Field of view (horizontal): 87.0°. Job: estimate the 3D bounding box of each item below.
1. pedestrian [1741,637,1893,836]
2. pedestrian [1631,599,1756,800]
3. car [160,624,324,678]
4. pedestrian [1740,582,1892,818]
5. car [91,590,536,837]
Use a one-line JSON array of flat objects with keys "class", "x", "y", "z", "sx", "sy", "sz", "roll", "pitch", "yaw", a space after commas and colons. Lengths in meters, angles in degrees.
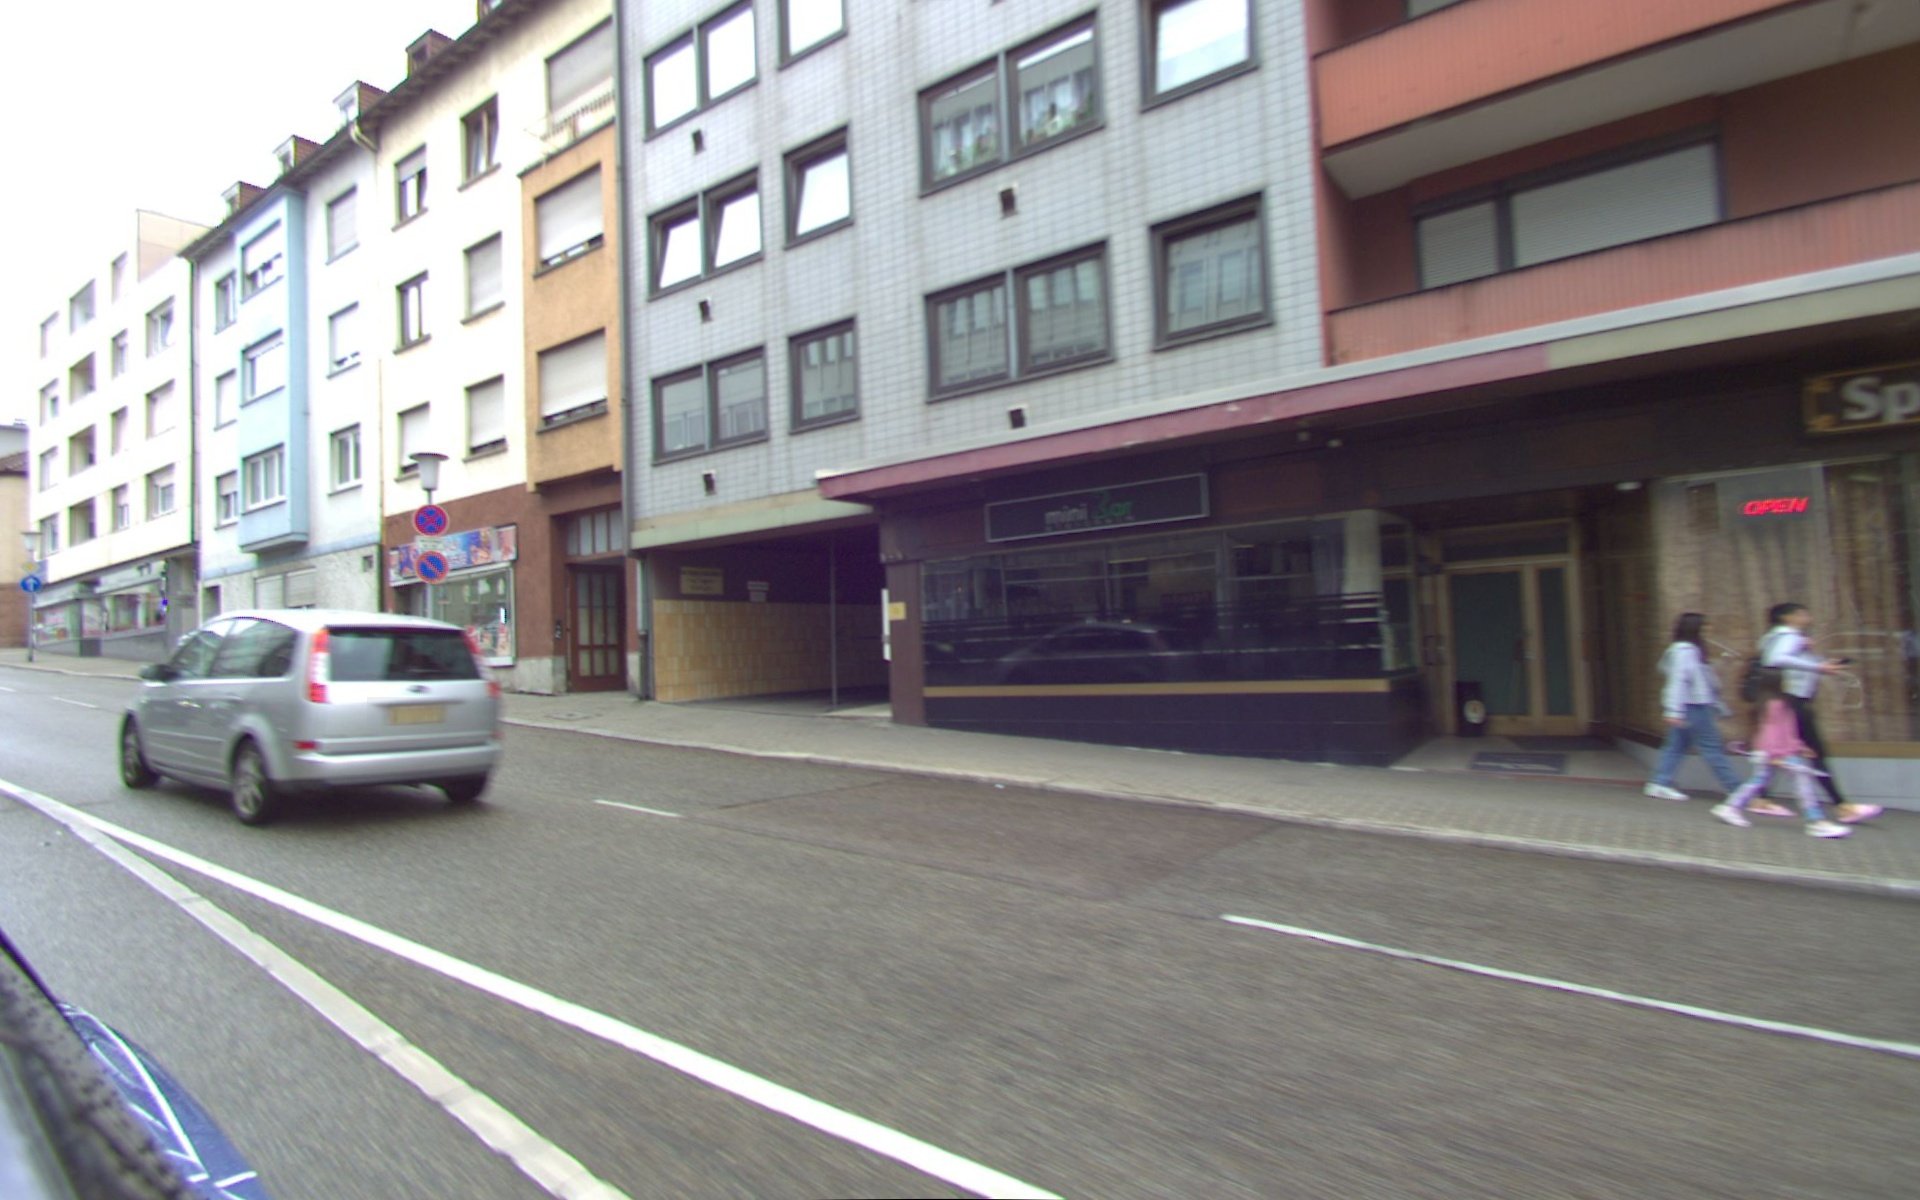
[{"class": "pedestrian", "x": 6.172, "y": 0.949, "z": 7.323, "sx": 0.720, "sy": 1.333, "sz": 0.530, "roll": -1, "pitch": 1, "yaw": 28}, {"class": "pedestrian", "x": 6.156, "y": 0.793, "z": 8.538, "sx": 0.720, "sy": 1.572, "sz": 0.822, "roll": -1, "pitch": 1, "yaw": 28}, {"class": "car", "x": -23.324, "y": 1.720, "z": 33.045, "sx": 1.671, "sy": 1.361, "sz": 3.960, "roll": -3, "pitch": -9, "yaw": 29}, {"class": "pedestrian", "x": 6.626, "y": 0.726, "z": 7.881, "sx": 0.720, "sy": 1.702, "sz": 0.822, "roll": -1, "pitch": 1, "yaw": 28}, {"class": "car", "x": -5.569, "y": 0.793, "z": 8.549, "sx": 4.167, "sy": 1.605, "sz": 1.719, "roll": 0, "pitch": -3, "yaw": 36}]
